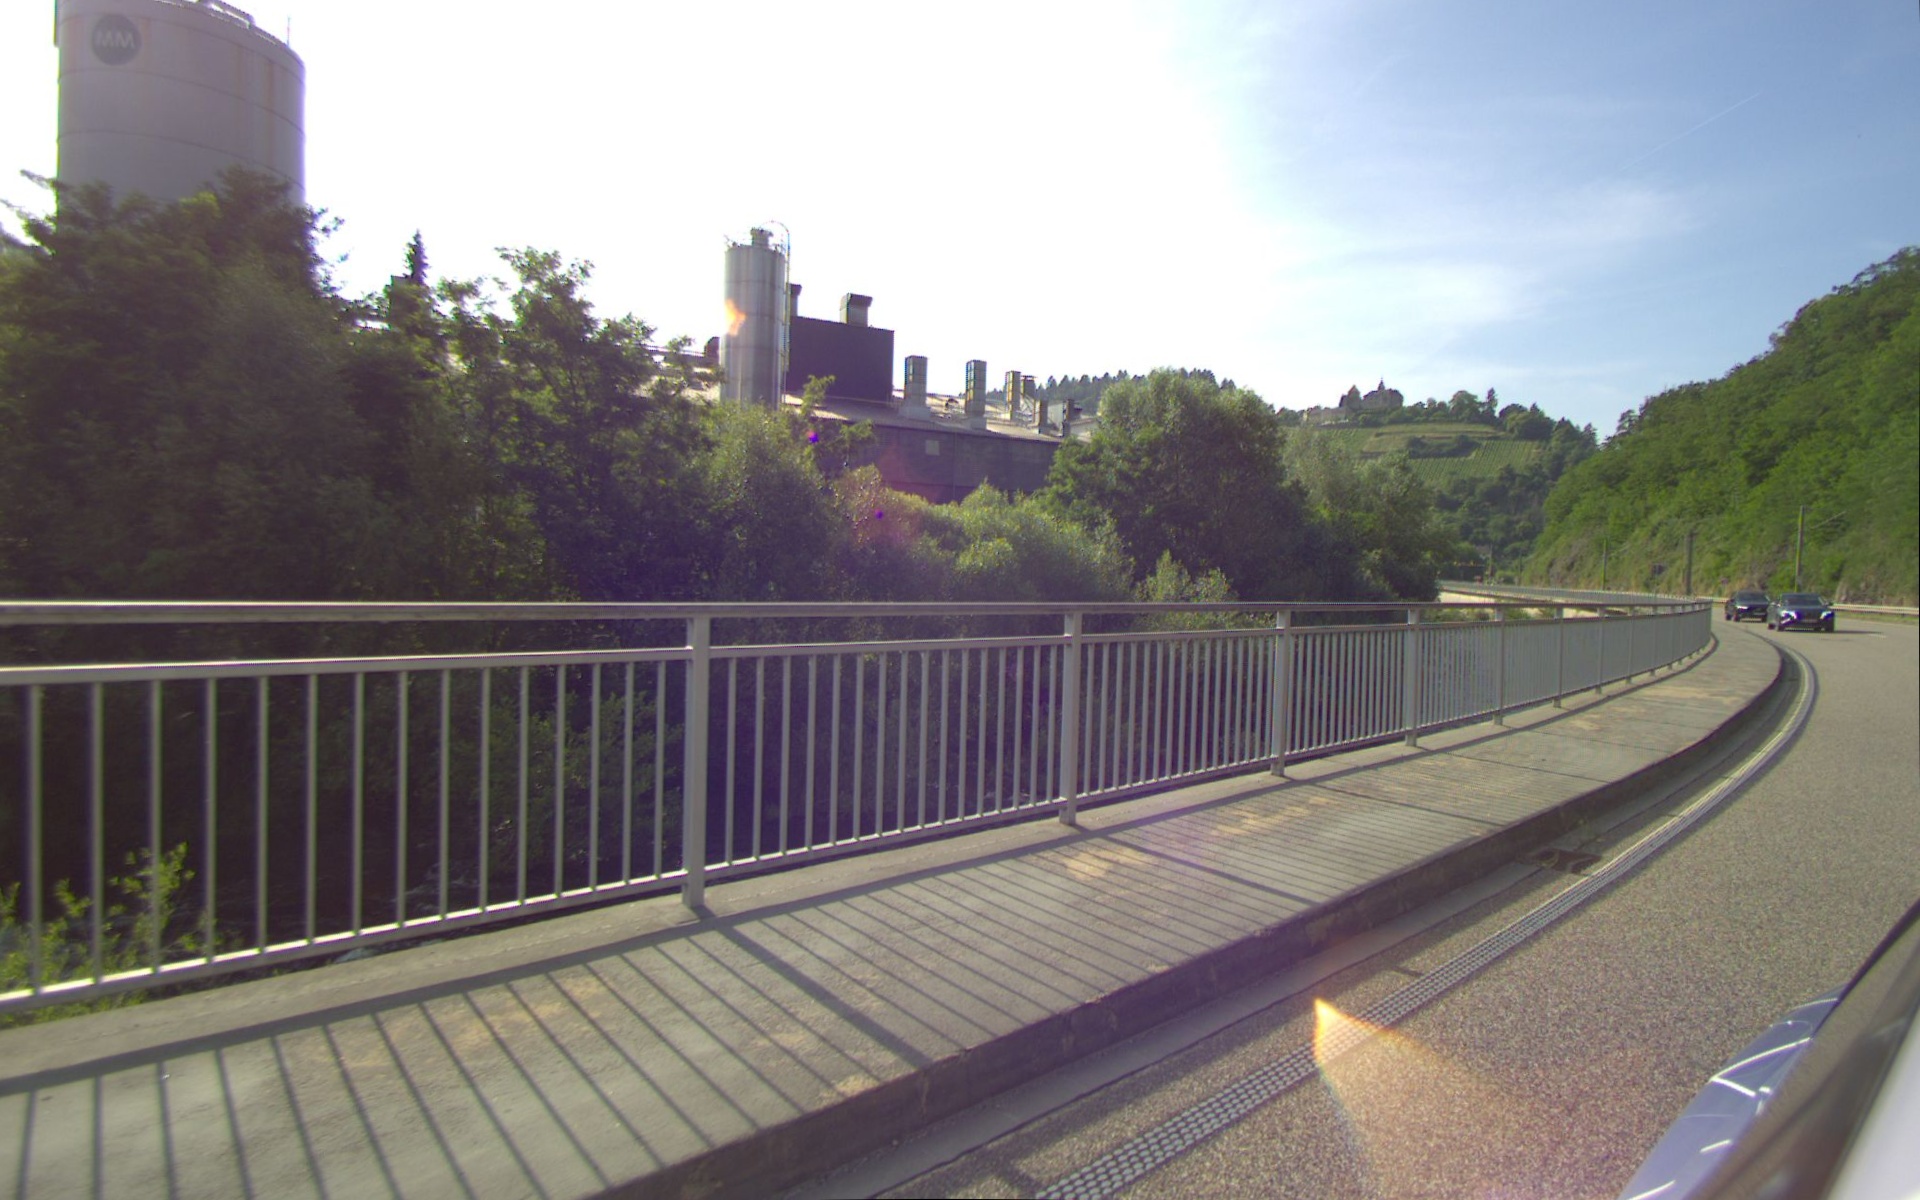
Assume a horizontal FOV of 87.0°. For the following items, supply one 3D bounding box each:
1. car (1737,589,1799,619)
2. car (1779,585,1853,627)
[{"bbox_3d":[44.056,0.235,55.268,1.985,1.409,3.956,6,3,31],"label":"car"},{"bbox_3d":[36.366,0.202,43.087,1.851,1.605,3.954,1,2,32],"label":"car"}]
